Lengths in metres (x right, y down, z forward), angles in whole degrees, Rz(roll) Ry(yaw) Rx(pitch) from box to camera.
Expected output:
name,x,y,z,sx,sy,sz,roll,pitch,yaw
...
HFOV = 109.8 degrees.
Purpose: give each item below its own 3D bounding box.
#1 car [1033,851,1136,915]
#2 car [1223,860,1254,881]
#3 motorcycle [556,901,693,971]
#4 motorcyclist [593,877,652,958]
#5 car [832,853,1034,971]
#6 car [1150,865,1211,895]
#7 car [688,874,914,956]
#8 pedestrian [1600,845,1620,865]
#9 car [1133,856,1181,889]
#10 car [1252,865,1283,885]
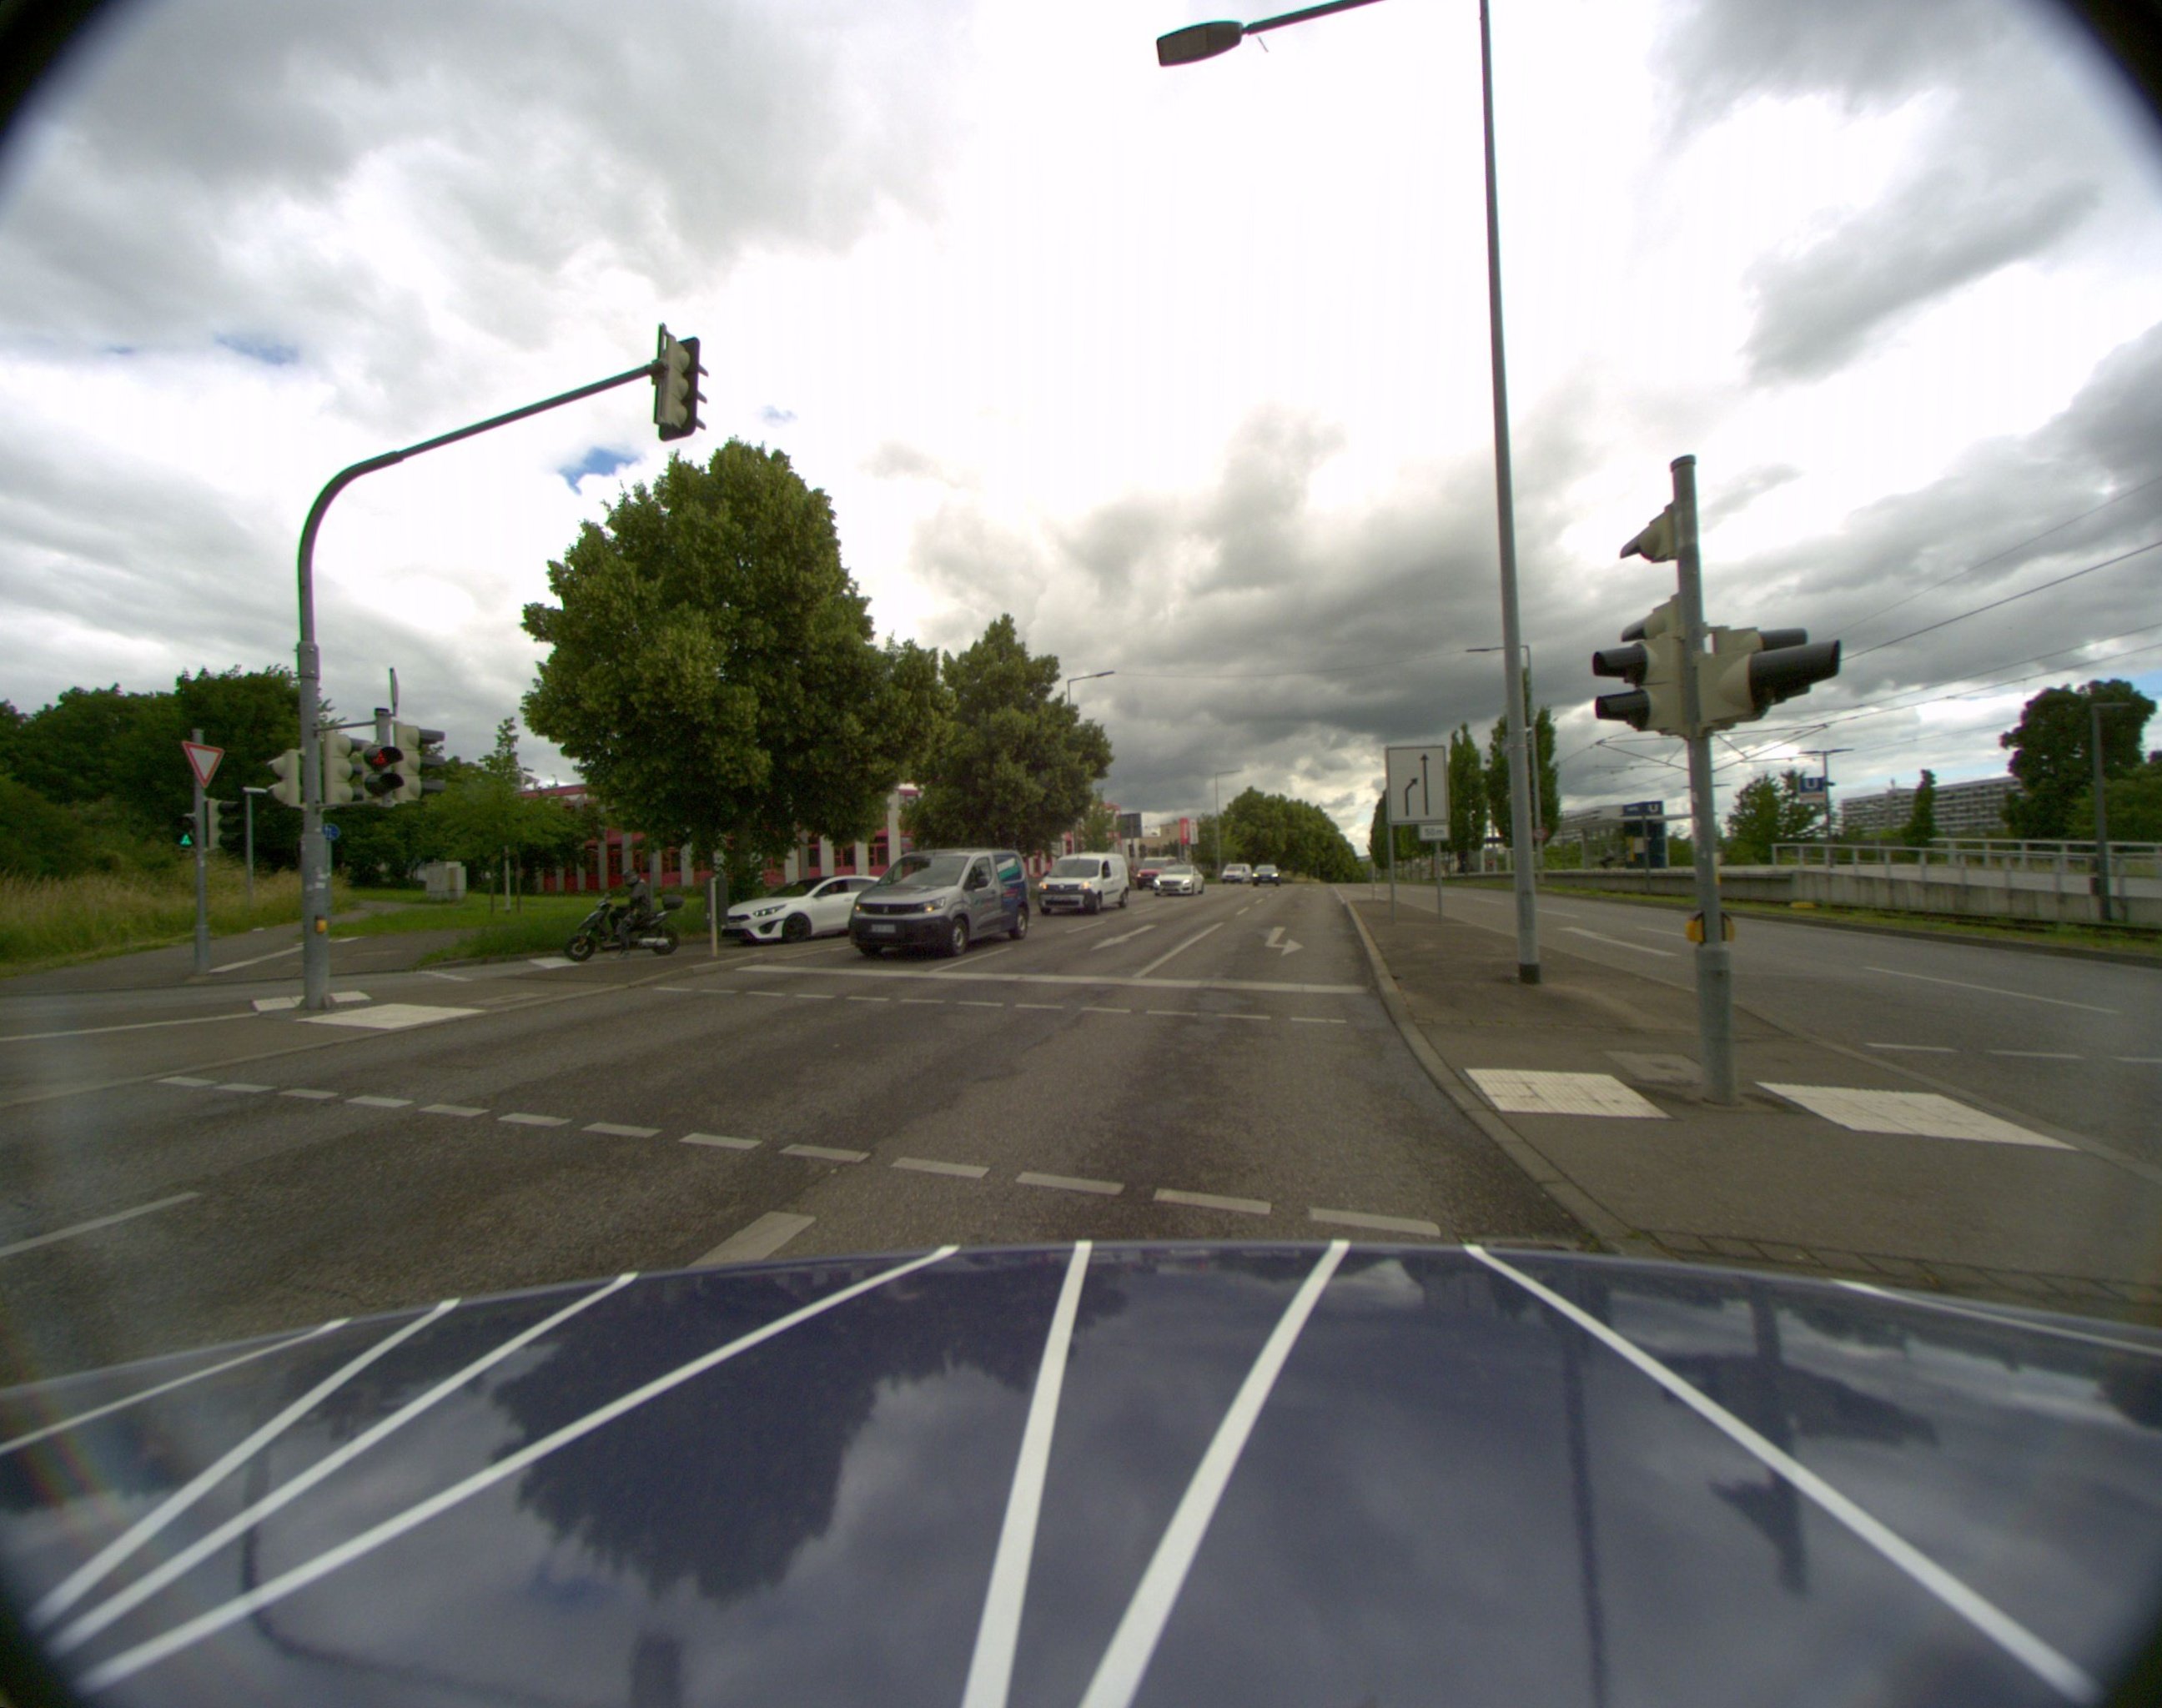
name,x,y,z,sx,sy,sz,roll,pitch,yaw
car,0.241,0.874,23.627,1.811,1.781,4.704,-1,-1,18
car,14.923,1.540,71.747,1.947,1.894,5.245,-1,0,21
motorcycle,-8.401,1.470,14.023,2.073,1.084,0.757,-1,-1,-38
motorcyclist,-8.445,1.145,13.999,0.819,1.413,0.757,-1,-1,-38
car,-2.438,0.881,13.701,1.811,1.769,4.227,-1,0,16
car,4.780,1.268,35.945,1.810,1.332,4.231,-1,-3,23
car,-6.082,1.266,17.078,1.831,1.411,4.522,-3,-1,32
pedestrian,31.437,0.078,45.128,0.750,1.169,0.839,-1,1,16
car,4.785,1.184,47.139,2.181,1.893,4.462,-1,-3,16
car,13.377,1.525,54.353,1.811,1.332,4.230,-1,-3,18
